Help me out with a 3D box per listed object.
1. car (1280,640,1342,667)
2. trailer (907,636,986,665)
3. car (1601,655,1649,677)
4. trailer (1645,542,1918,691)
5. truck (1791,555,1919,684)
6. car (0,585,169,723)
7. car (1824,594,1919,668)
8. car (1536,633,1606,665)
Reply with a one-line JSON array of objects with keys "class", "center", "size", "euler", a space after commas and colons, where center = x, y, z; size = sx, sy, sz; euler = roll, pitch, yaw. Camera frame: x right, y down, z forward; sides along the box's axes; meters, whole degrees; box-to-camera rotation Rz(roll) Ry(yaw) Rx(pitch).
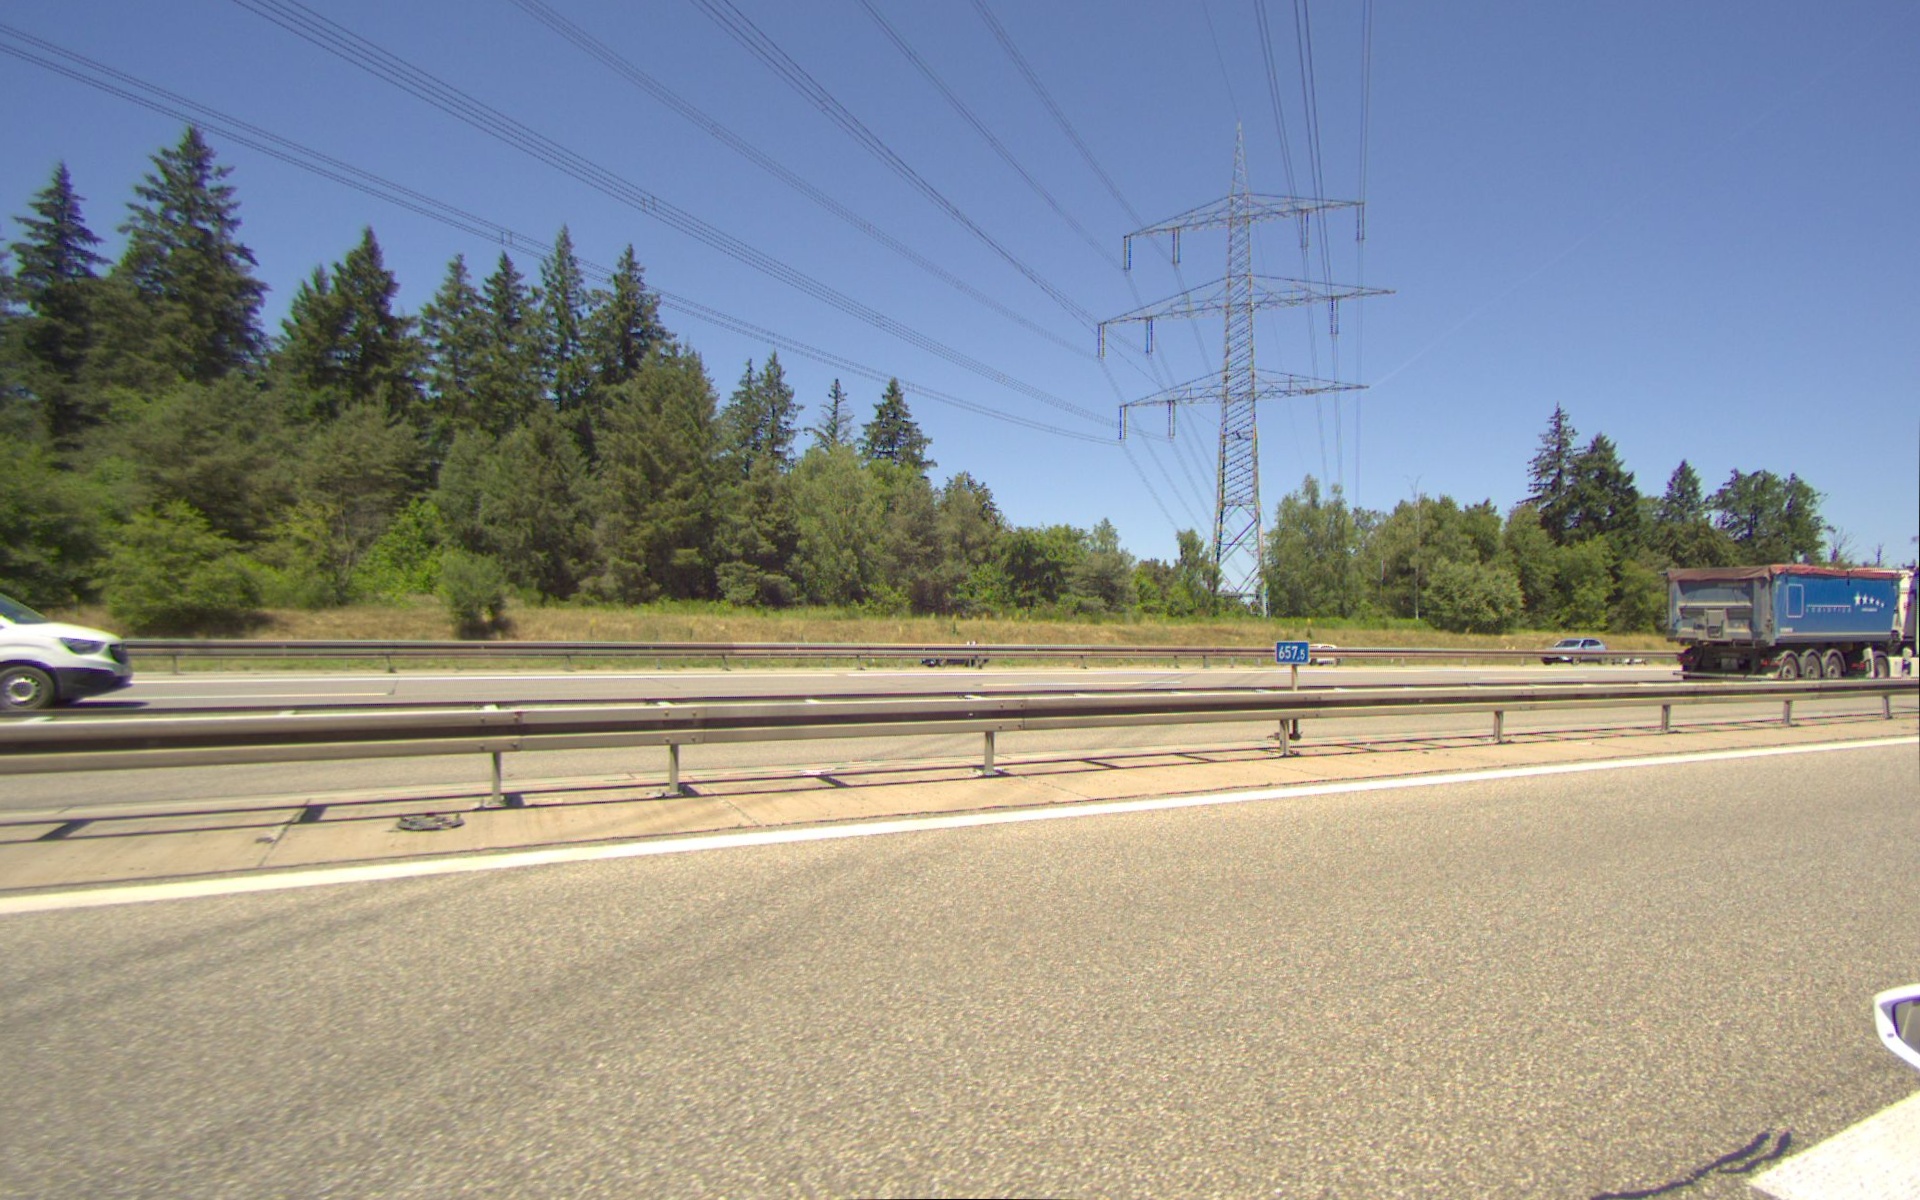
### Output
[{"class": "car", "center": [24.625, 3.769, 70.408], "size": [3.954, 1.806, 1.984], "euler": [3, -2, -30]}, {"class": "trailer", "center": [-0.800, 3.037, 60.943], "size": [4.406, 1.691, 1.984], "euler": [1, -1, -30]}, {"class": "car", "center": [60.556, 6.011, 91.482], "size": [3.951, 1.806, 1.985], "euler": [3, -2, -28]}, {"class": "trailer", "center": [24.246, 0.544, 29.460], "size": [9.762, 3.858, 2.760], "euler": [1, -1, -29]}, {"class": "truck", "center": [29.471, 0.652, 32.312], "size": [4.564, 3.858, 2.745], "euler": [1, -1, -28]}, {"class": "car", "center": [-13.725, 0.686, 13.190], "size": [4.959, 1.777, 1.764], "euler": [2, -2, -29]}, {"class": "car", "center": [39.950, 1.402, 43.004], "size": [6.401, 2.934, 2.619], "euler": [3, -2, -31]}, {"class": "car", "center": [36.670, 2.967, 60.300], "size": [3.954, 1.806, 1.984], "euler": [3, -2, -30]}]
